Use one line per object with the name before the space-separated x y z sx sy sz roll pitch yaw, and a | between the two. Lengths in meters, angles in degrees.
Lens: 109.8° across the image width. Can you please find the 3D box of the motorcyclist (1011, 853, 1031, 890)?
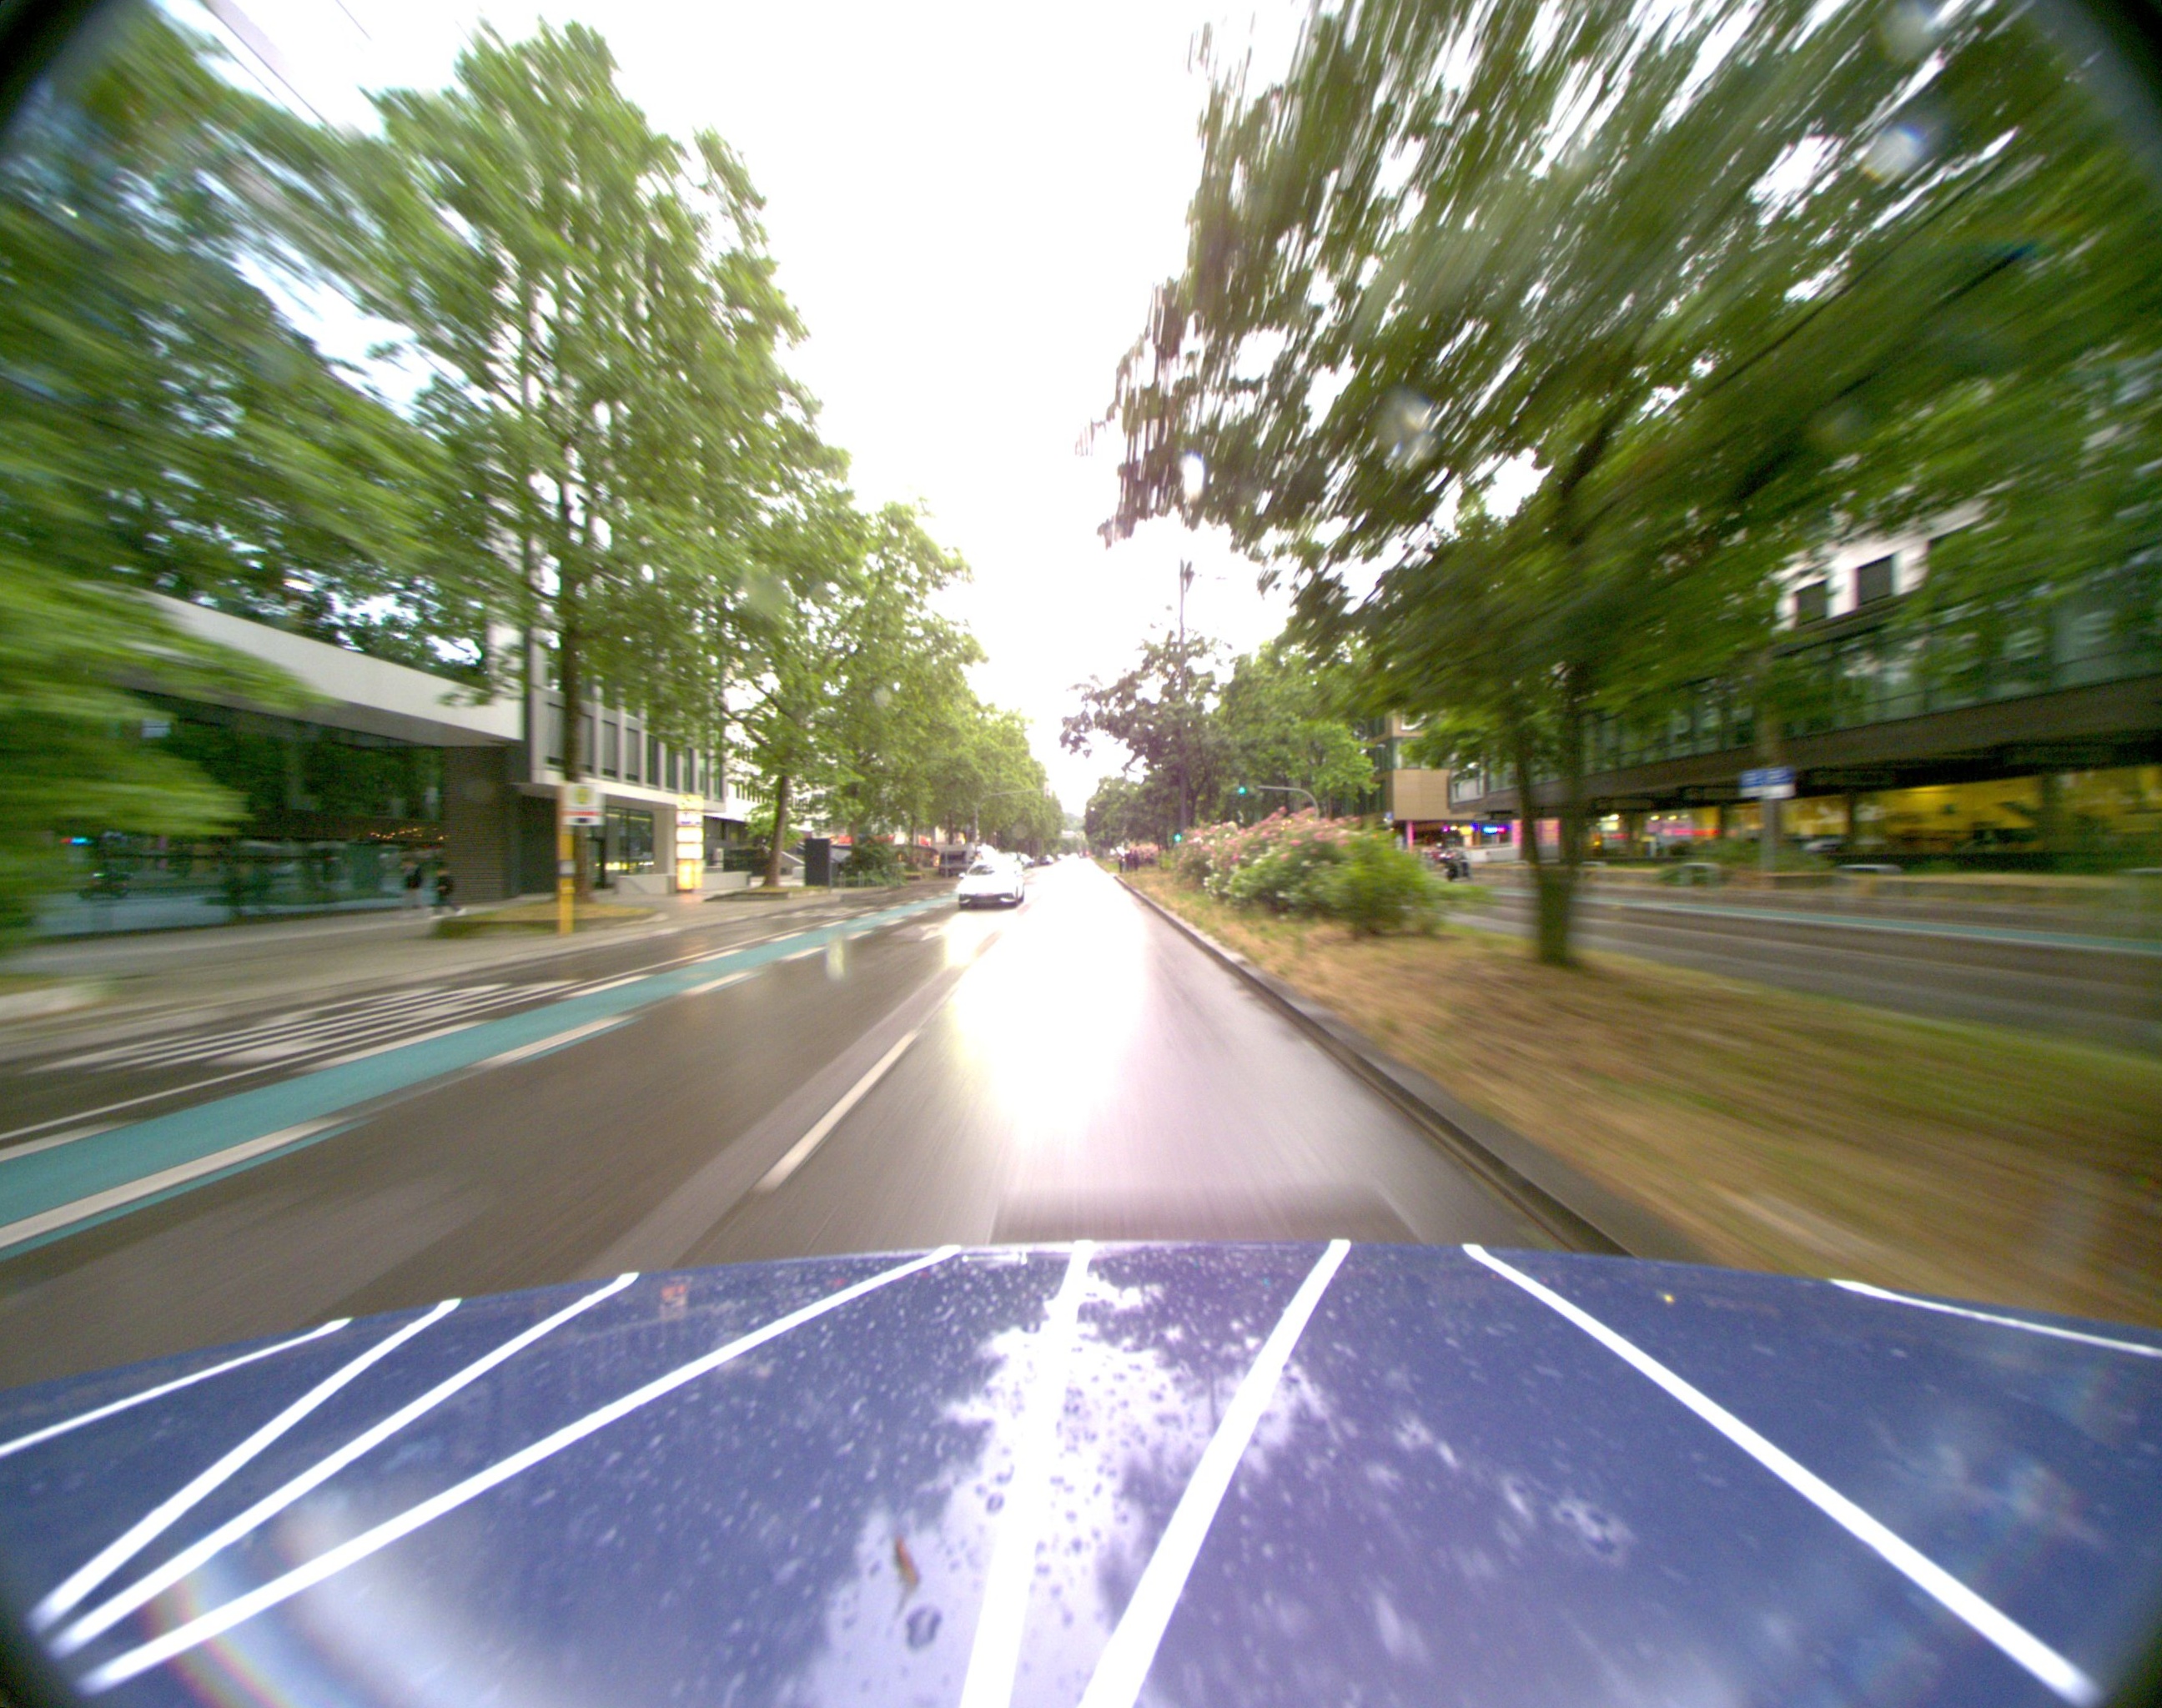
motorcyclist | -2.699 0.772 34.280 0.744 1.575 1.059 -2 2 0

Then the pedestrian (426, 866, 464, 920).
pedestrian | -19.664 1.196 23.511 0.527 1.616 0.719 1 2 0

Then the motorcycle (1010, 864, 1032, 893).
motorcycle | -2.695 1.078 34.398 0.744 1.194 2.235 -2 1 0

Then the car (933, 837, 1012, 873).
car | -8.748 0.139 60.780 6.267 2.665 2.326 -1 2 36

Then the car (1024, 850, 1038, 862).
car | -6.620 0.269 101.681 1.598 1.517 3.425 -2 1 0

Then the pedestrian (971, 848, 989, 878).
pedestrian | -6.575 0.581 49.407 0.891 1.839 0.721 -2 2 7

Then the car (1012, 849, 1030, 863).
car | -6.655 0.222 84.602 1.598 1.517 3.425 -2 1 0

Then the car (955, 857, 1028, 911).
car | -2.784 0.904 24.485 1.795 1.463 3.793 -2 1 1

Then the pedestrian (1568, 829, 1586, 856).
pedestrian | 27.192 -0.622 41.646 0.568 1.457 0.560 -2 1 -4

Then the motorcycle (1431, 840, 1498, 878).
motorcycle | 16.185 0.212 32.082 2.523 1.382 0.899 -4 2 -17

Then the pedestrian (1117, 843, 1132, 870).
pedestrian | 3.077 0.175 53.948 0.892 1.839 0.787 -2 2 -5

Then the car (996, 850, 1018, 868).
car | -6.867 0.449 70.697 1.598 1.517 3.425 -2 1 0

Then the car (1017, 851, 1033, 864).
car | -6.849 0.418 93.624 1.598 1.517 3.425 -2 1 0

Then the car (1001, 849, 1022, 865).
car | -6.824 0.305 74.795 1.598 1.517 3.425 -2 1 0

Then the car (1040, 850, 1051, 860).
car | -5.907 0.189 126.218 1.598 1.517 3.425 -2 1 0

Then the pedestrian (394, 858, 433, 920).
pedestrian | -20.530 1.065 23.383 0.524 1.848 0.704 1 2 0
